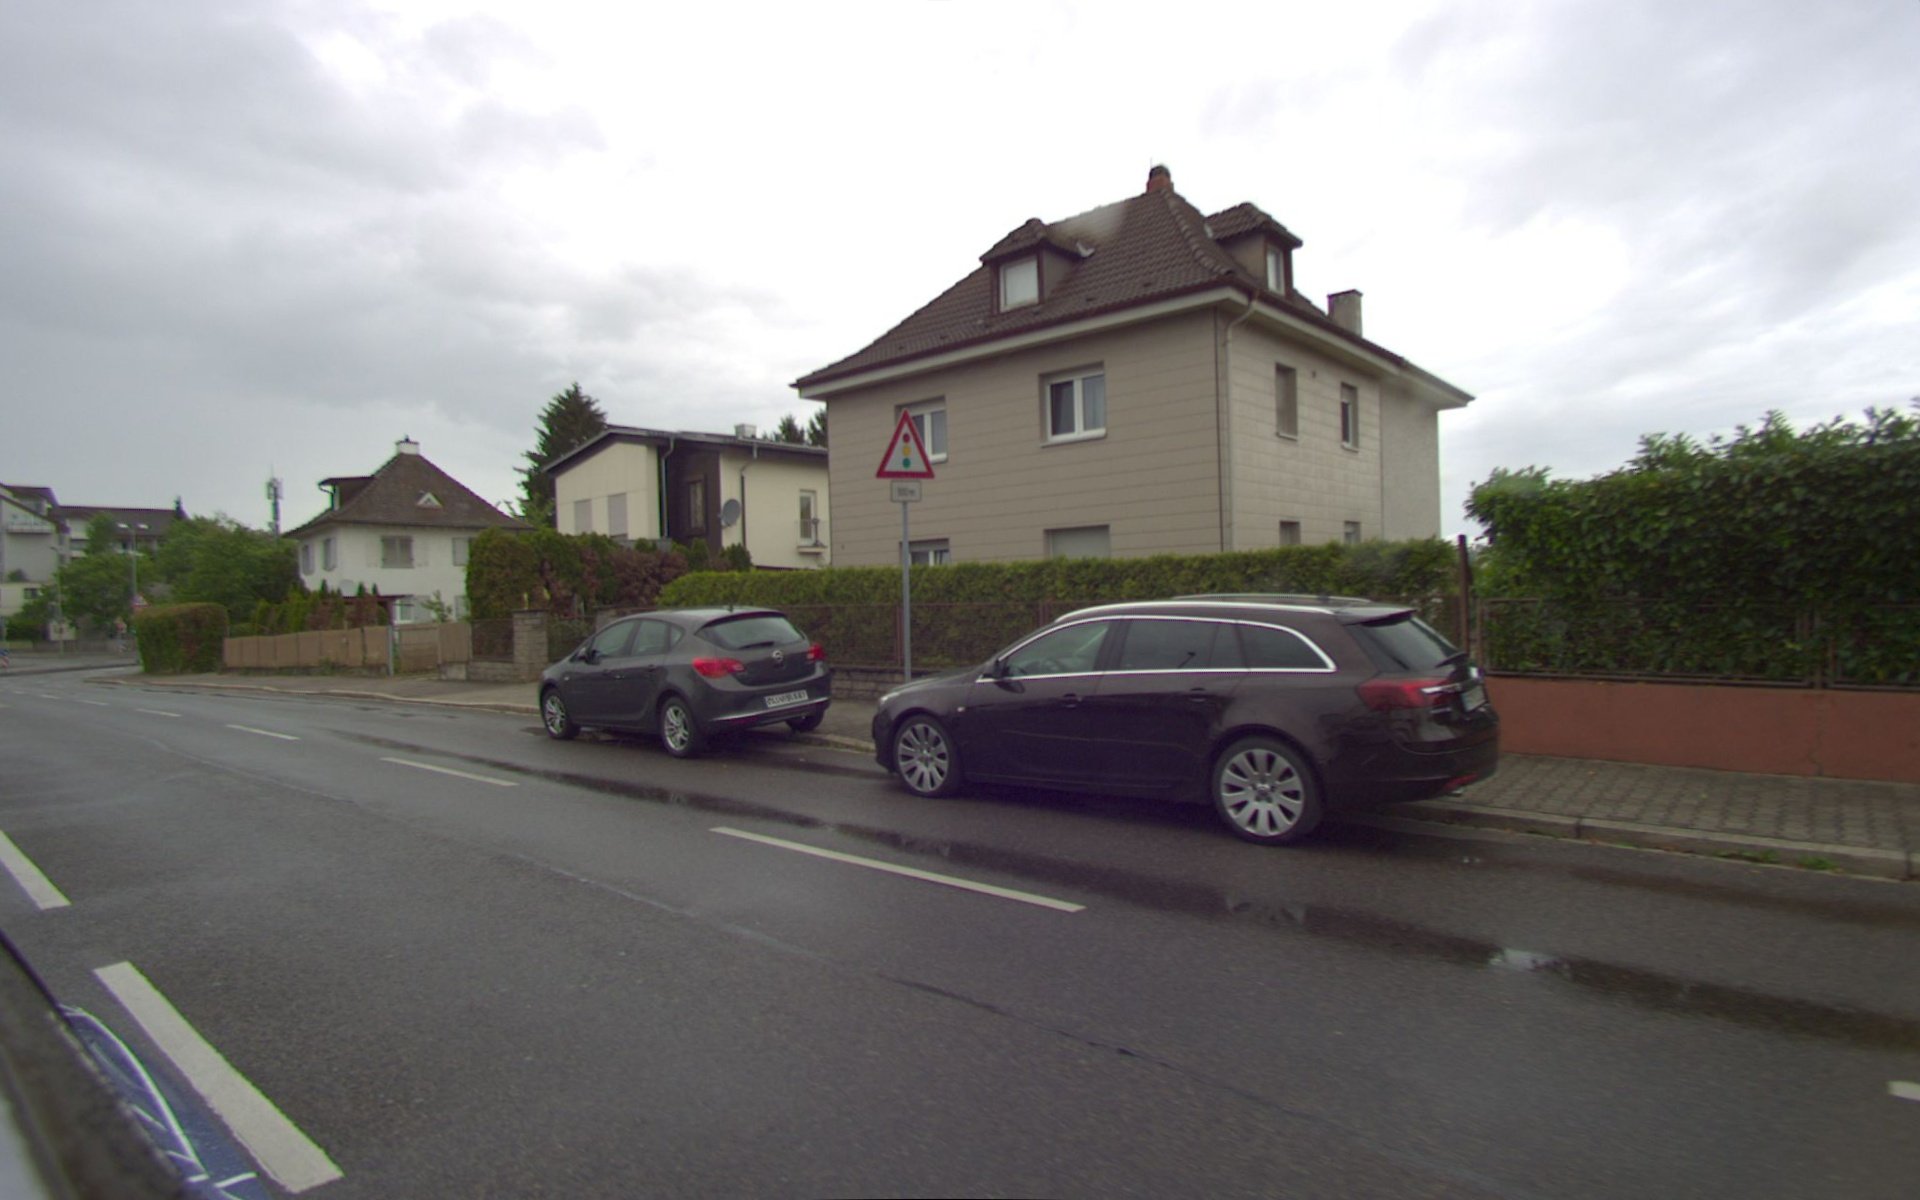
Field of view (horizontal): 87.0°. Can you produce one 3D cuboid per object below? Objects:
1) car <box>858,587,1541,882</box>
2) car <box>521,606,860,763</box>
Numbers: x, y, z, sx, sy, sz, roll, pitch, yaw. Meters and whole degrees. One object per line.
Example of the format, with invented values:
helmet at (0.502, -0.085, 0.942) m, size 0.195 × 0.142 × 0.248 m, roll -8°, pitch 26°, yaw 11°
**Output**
car at (1.483, 0.718, 7.346) m, size 4.523 × 1.528 × 1.733 m, roll -1°, pitch 0°, yaw 39°
car at (-3.191, 0.825, 11.534) m, size 4.128 × 1.450 × 1.732 m, roll -1°, pitch 0°, yaw 41°
